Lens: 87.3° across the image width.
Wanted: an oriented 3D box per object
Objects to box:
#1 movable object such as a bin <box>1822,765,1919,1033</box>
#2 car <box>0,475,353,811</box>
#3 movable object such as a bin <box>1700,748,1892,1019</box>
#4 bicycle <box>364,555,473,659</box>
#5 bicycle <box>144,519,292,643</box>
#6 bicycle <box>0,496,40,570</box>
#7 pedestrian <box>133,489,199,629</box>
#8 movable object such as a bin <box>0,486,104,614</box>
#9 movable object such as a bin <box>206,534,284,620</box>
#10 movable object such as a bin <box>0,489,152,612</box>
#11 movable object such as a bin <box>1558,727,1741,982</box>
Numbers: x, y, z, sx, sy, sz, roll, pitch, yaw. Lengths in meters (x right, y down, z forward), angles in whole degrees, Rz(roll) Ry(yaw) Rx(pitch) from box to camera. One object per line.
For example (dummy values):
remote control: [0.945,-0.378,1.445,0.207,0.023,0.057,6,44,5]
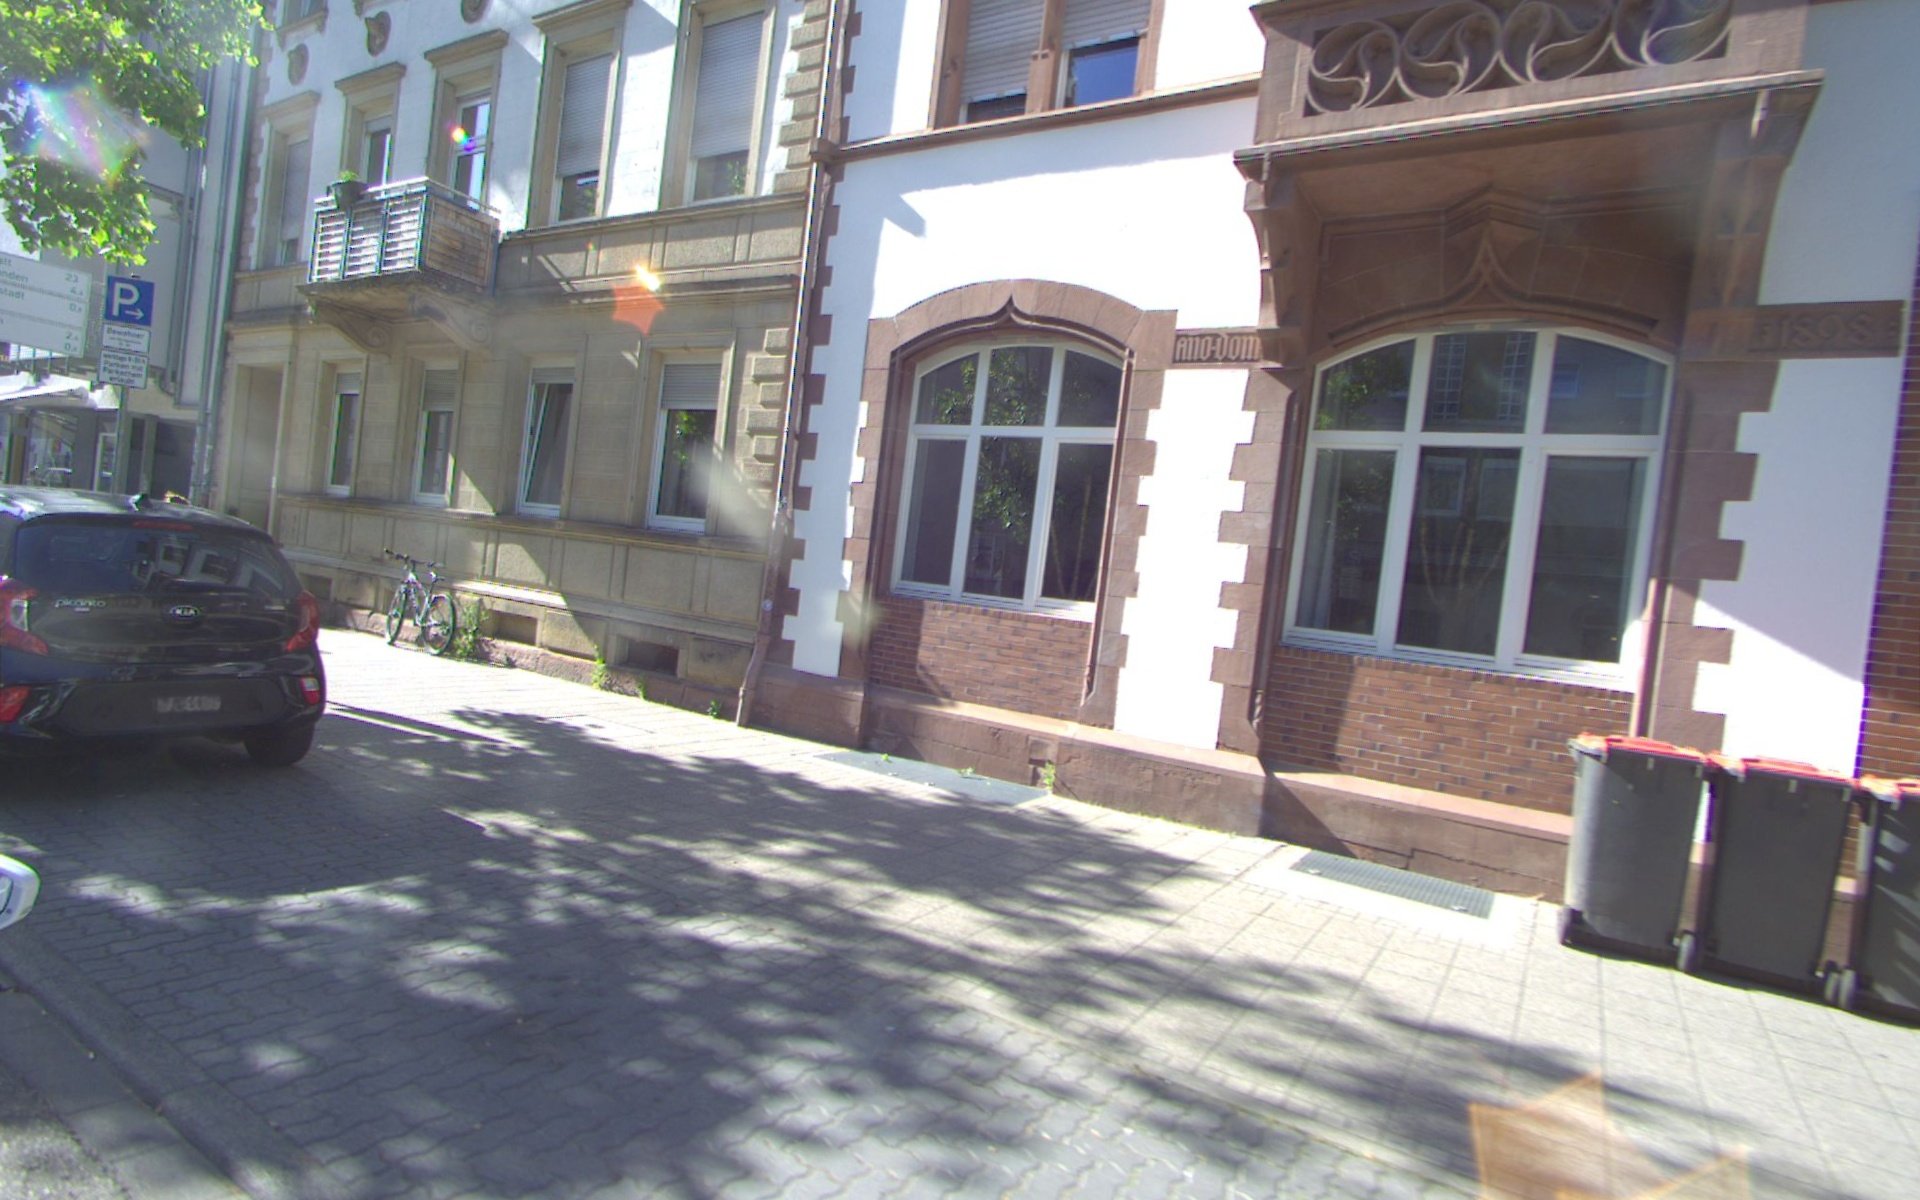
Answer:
movable object such as a bin: [4.449,1.362,4.550,0.629,1.082,0.638,7,1,32]
car: [-5.433,0.060,5.910,3.520,1.494,1.637,7,1,31]
movable object such as a bin: [3.979,1.308,4.836,0.513,1.082,0.638,7,1,32]
bicycle: [-6.305,0.070,11.698,1.404,1.045,0.432,7,4,32]
bicycle: [-8.392,-0.233,11.344,2.089,1.163,0.537,7,1,32]
bicycle: [-18.289,-1.321,19.175,1.853,1.283,0.549,6,-2,34]
pedestrian: [-8.740,-0.449,11.074,0.383,1.488,0.368,7,2,31]
movable object such as a bin: [-10.856,-0.600,11.458,1.090,1.365,1.269,7,1,-10]
movable object such as a bin: [-9.554,-0.307,13.449,0.537,1.055,0.599,7,1,31]
movable object such as a bin: [-11.215,-0.608,12.794,1.026,1.364,1.104,7,0,-19]
movable object such as a bin: [3.495,1.249,5.158,0.621,1.082,0.638,7,1,32]
